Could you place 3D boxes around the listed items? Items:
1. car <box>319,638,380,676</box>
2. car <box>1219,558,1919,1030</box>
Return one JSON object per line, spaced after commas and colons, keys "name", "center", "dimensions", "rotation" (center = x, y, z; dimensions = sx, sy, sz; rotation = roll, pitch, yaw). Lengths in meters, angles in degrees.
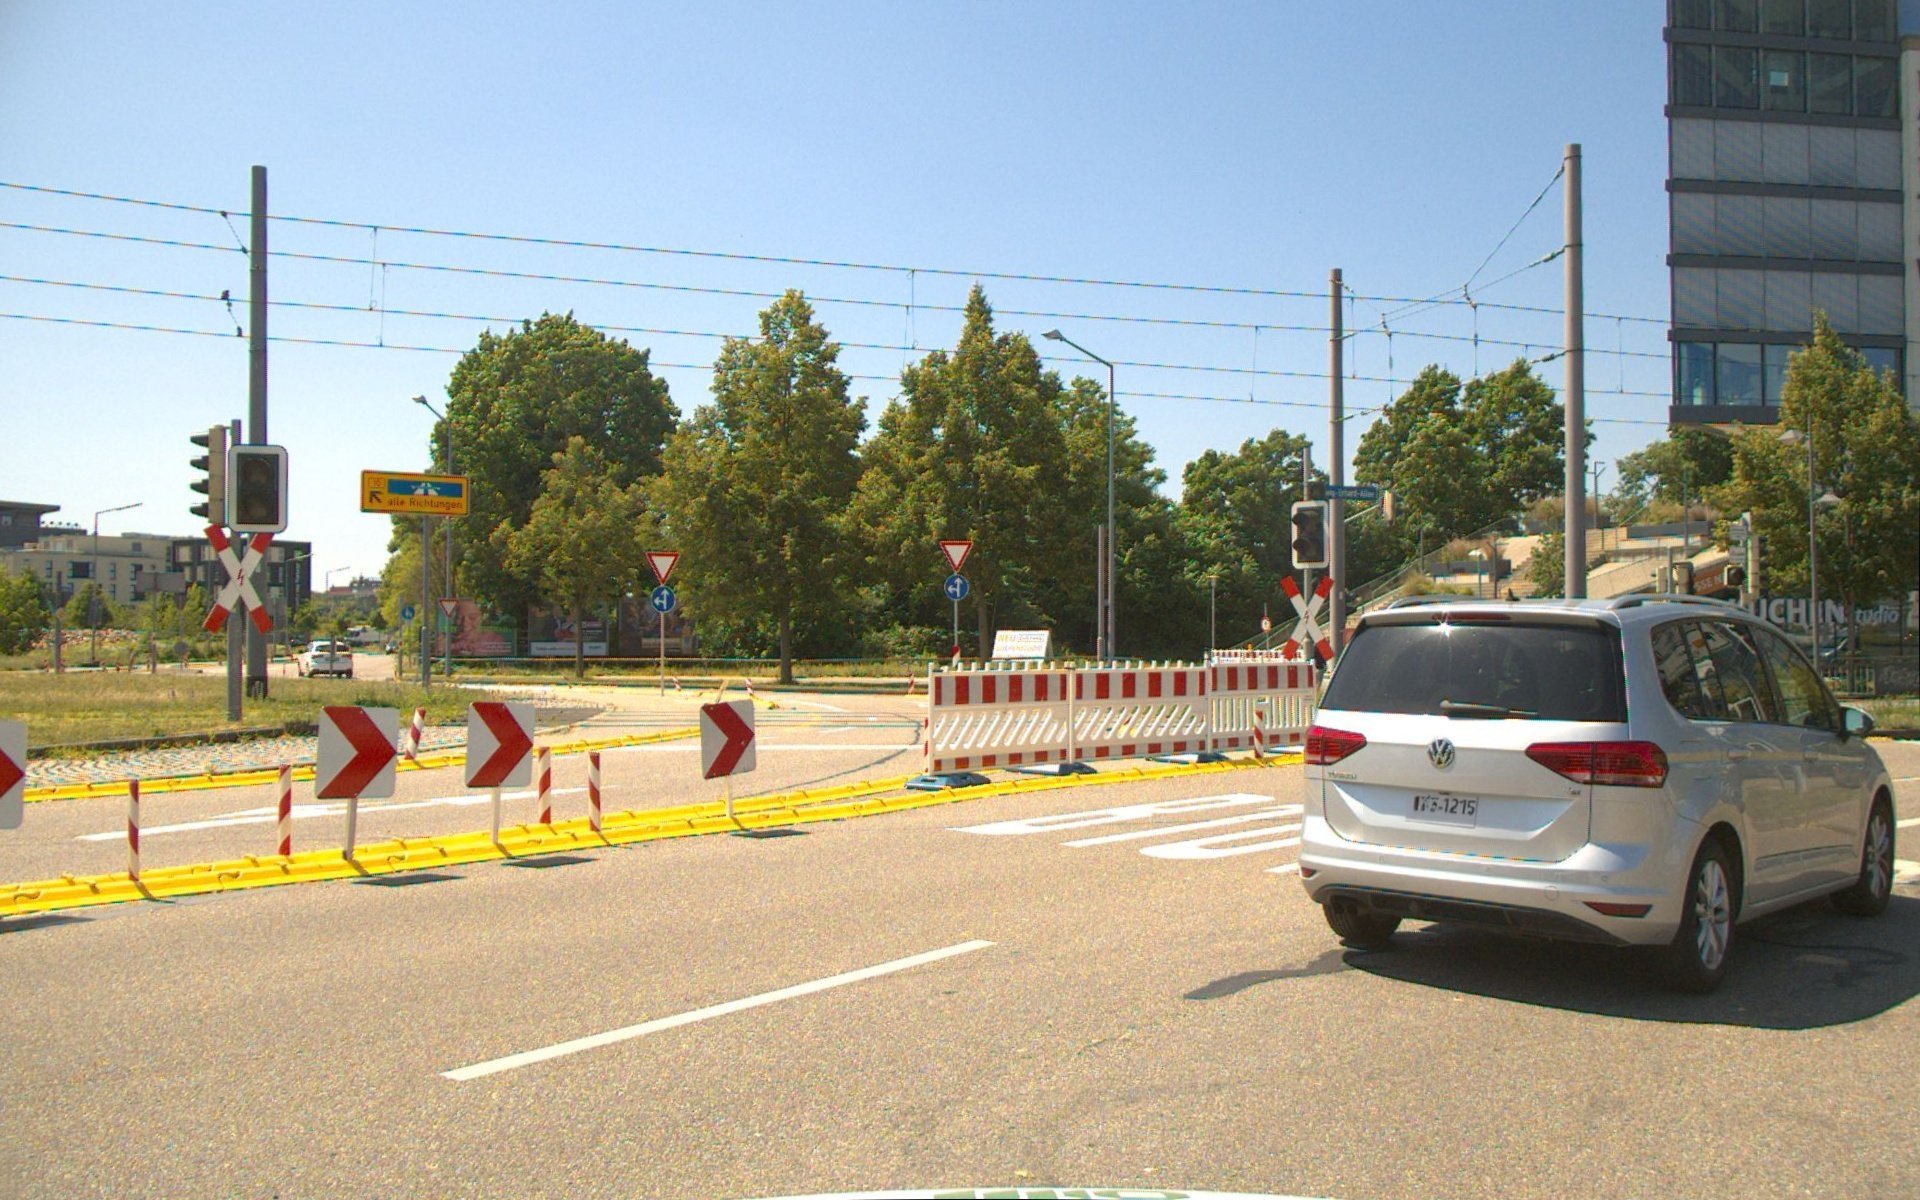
{"name": "car", "center": [-25.556, 2.340, 69.124], "dimensions": [1.969, 1.512, 4.329], "rotation": [0, -1, -26]}
{"name": "car", "center": [3.280, 0.720, 8.214], "dimensions": [1.774, 1.678, 4.577], "rotation": [0, -1, 41]}
